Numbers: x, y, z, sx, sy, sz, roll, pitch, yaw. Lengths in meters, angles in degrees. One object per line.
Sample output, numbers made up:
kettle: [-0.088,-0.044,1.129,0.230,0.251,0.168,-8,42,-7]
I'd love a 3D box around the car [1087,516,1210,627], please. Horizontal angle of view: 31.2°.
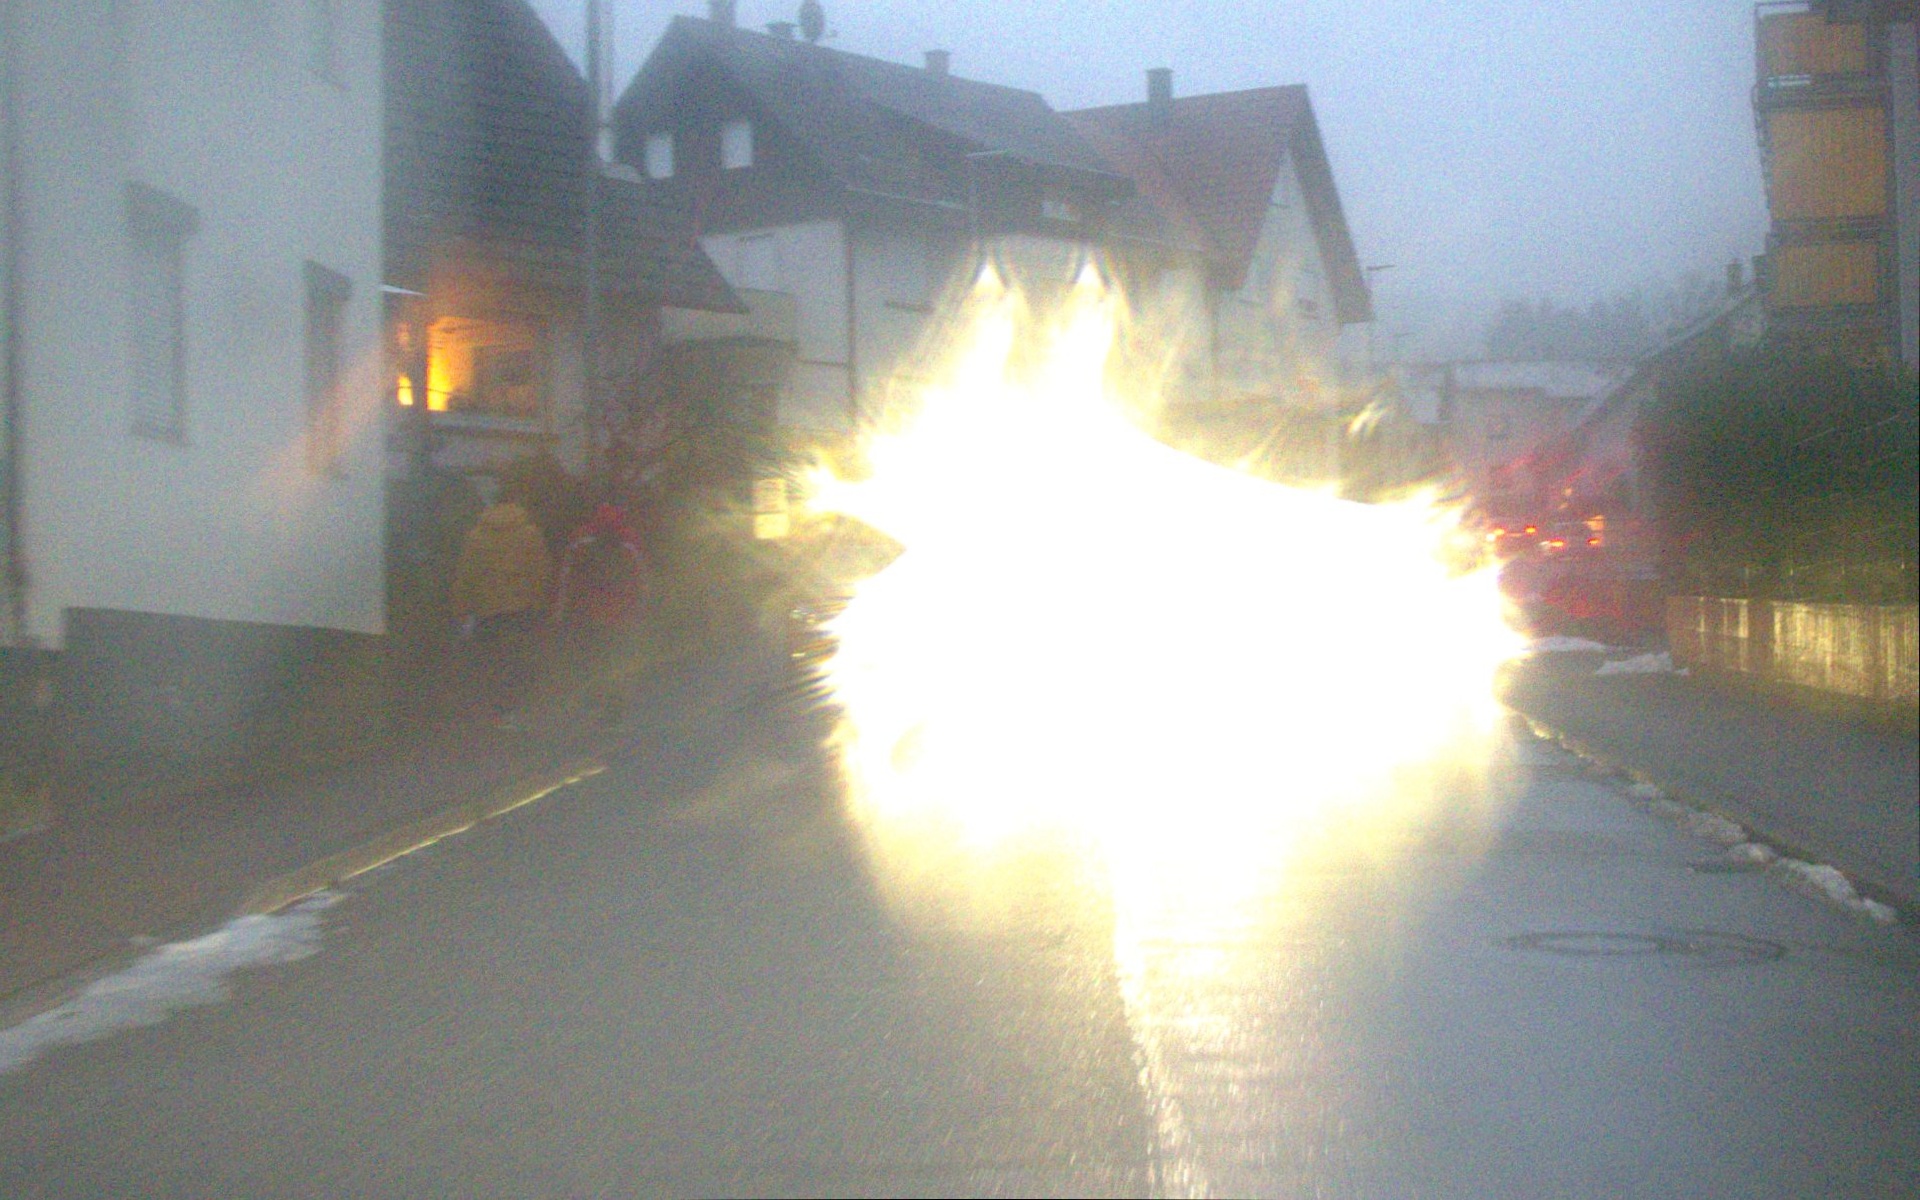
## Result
car: [2.781,-0.420,51.041,1.758,1.575,4.000,0,0,3]

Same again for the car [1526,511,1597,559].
car: [21.441,-2.307,122.451,1.995,1.612,3.997,1,0,17]

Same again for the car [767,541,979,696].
car: [-0.813,0.137,34.426,1.823,1.435,4.067,0,1,3]

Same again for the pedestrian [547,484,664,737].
pedestrian: [-2.527,0.072,24.569,0.706,1.773,0.812,0,0,3]

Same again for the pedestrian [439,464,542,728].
pedestrian: [-3.371,-0.032,24.708,0.598,1.863,0.812,0,0,2]

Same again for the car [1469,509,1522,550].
car: [22.017,-2.891,141.558,1.994,1.612,3.999,1,0,7]
